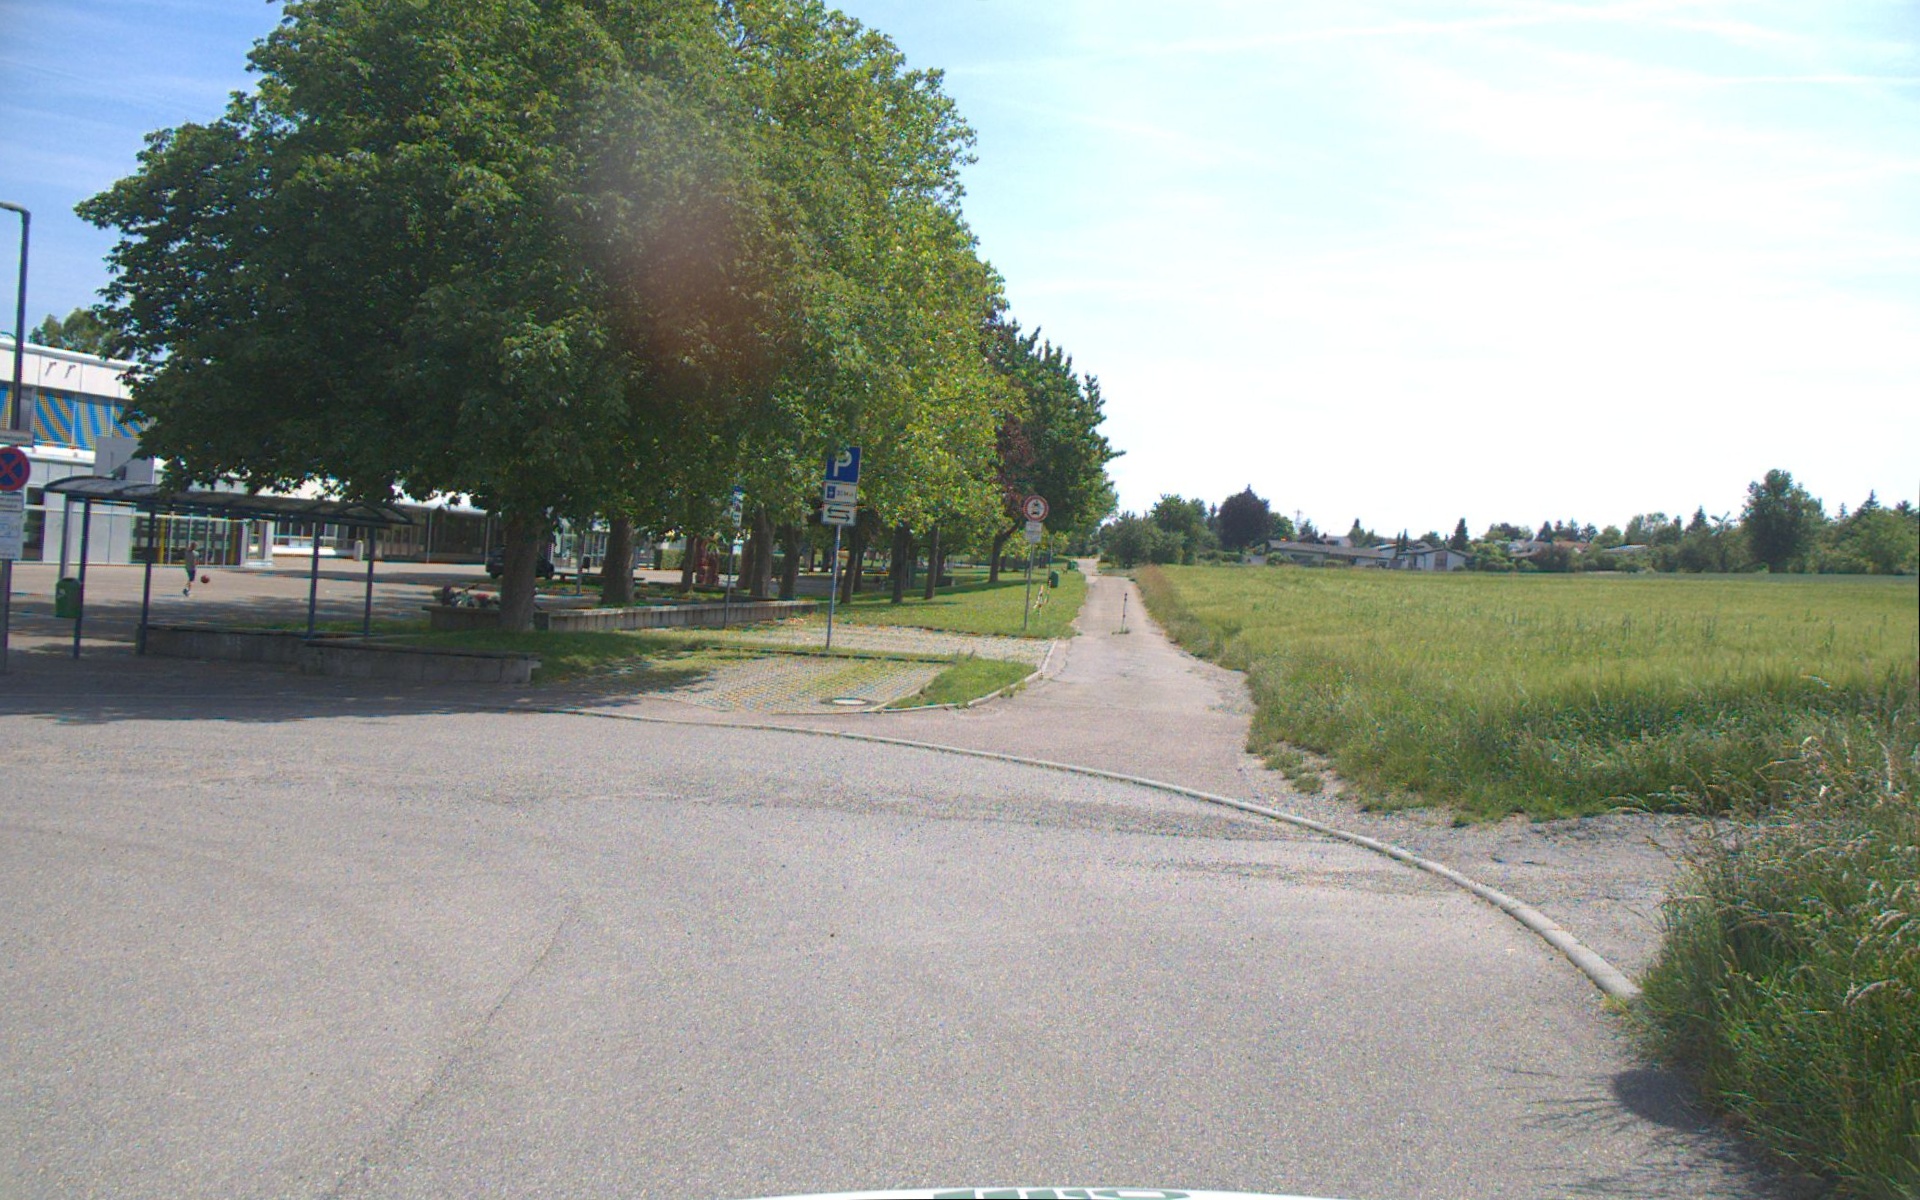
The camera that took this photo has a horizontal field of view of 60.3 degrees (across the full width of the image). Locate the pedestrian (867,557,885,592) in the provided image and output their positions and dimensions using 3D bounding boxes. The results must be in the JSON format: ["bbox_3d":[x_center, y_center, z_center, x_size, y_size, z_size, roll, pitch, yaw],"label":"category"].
[{"bbox_3d":[-5.003,-1.522,98.037,0.675,2.048,0.796,3,0,-29],"label":"pedestrian"}]

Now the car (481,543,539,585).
[{"bbox_3d":[-21.351,-1.705,78.599,1.656,1.866,3.412,3,1,1],"label":"car"}]

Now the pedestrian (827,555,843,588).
[{"bbox_3d":[-8.029,-1.817,106.510,0.818,2.048,0.690,3,0,-13],"label":"pedestrian"}]

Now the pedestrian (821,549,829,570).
[{"bbox_3d":[-13.263,-4.011,162.319,0.707,2.049,0.683,0,0,6],"label":"pedestrian"}]

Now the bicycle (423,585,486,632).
[{"bbox_3d":[-11.957,0.187,39.205,0.582,1.057,1.894,2,1,11],"label":"bicycle"}]

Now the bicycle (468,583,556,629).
[{"bbox_3d":[-11.180,0.149,41.316,2.022,1.057,0.571,2,1,-5],"label":"bicycle"}]

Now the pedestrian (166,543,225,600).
[{"bbox_3d":[-20.510,-0.755,44.375,0.897,1.448,1.070,3,0,16],"label":"pedestrian"}]
